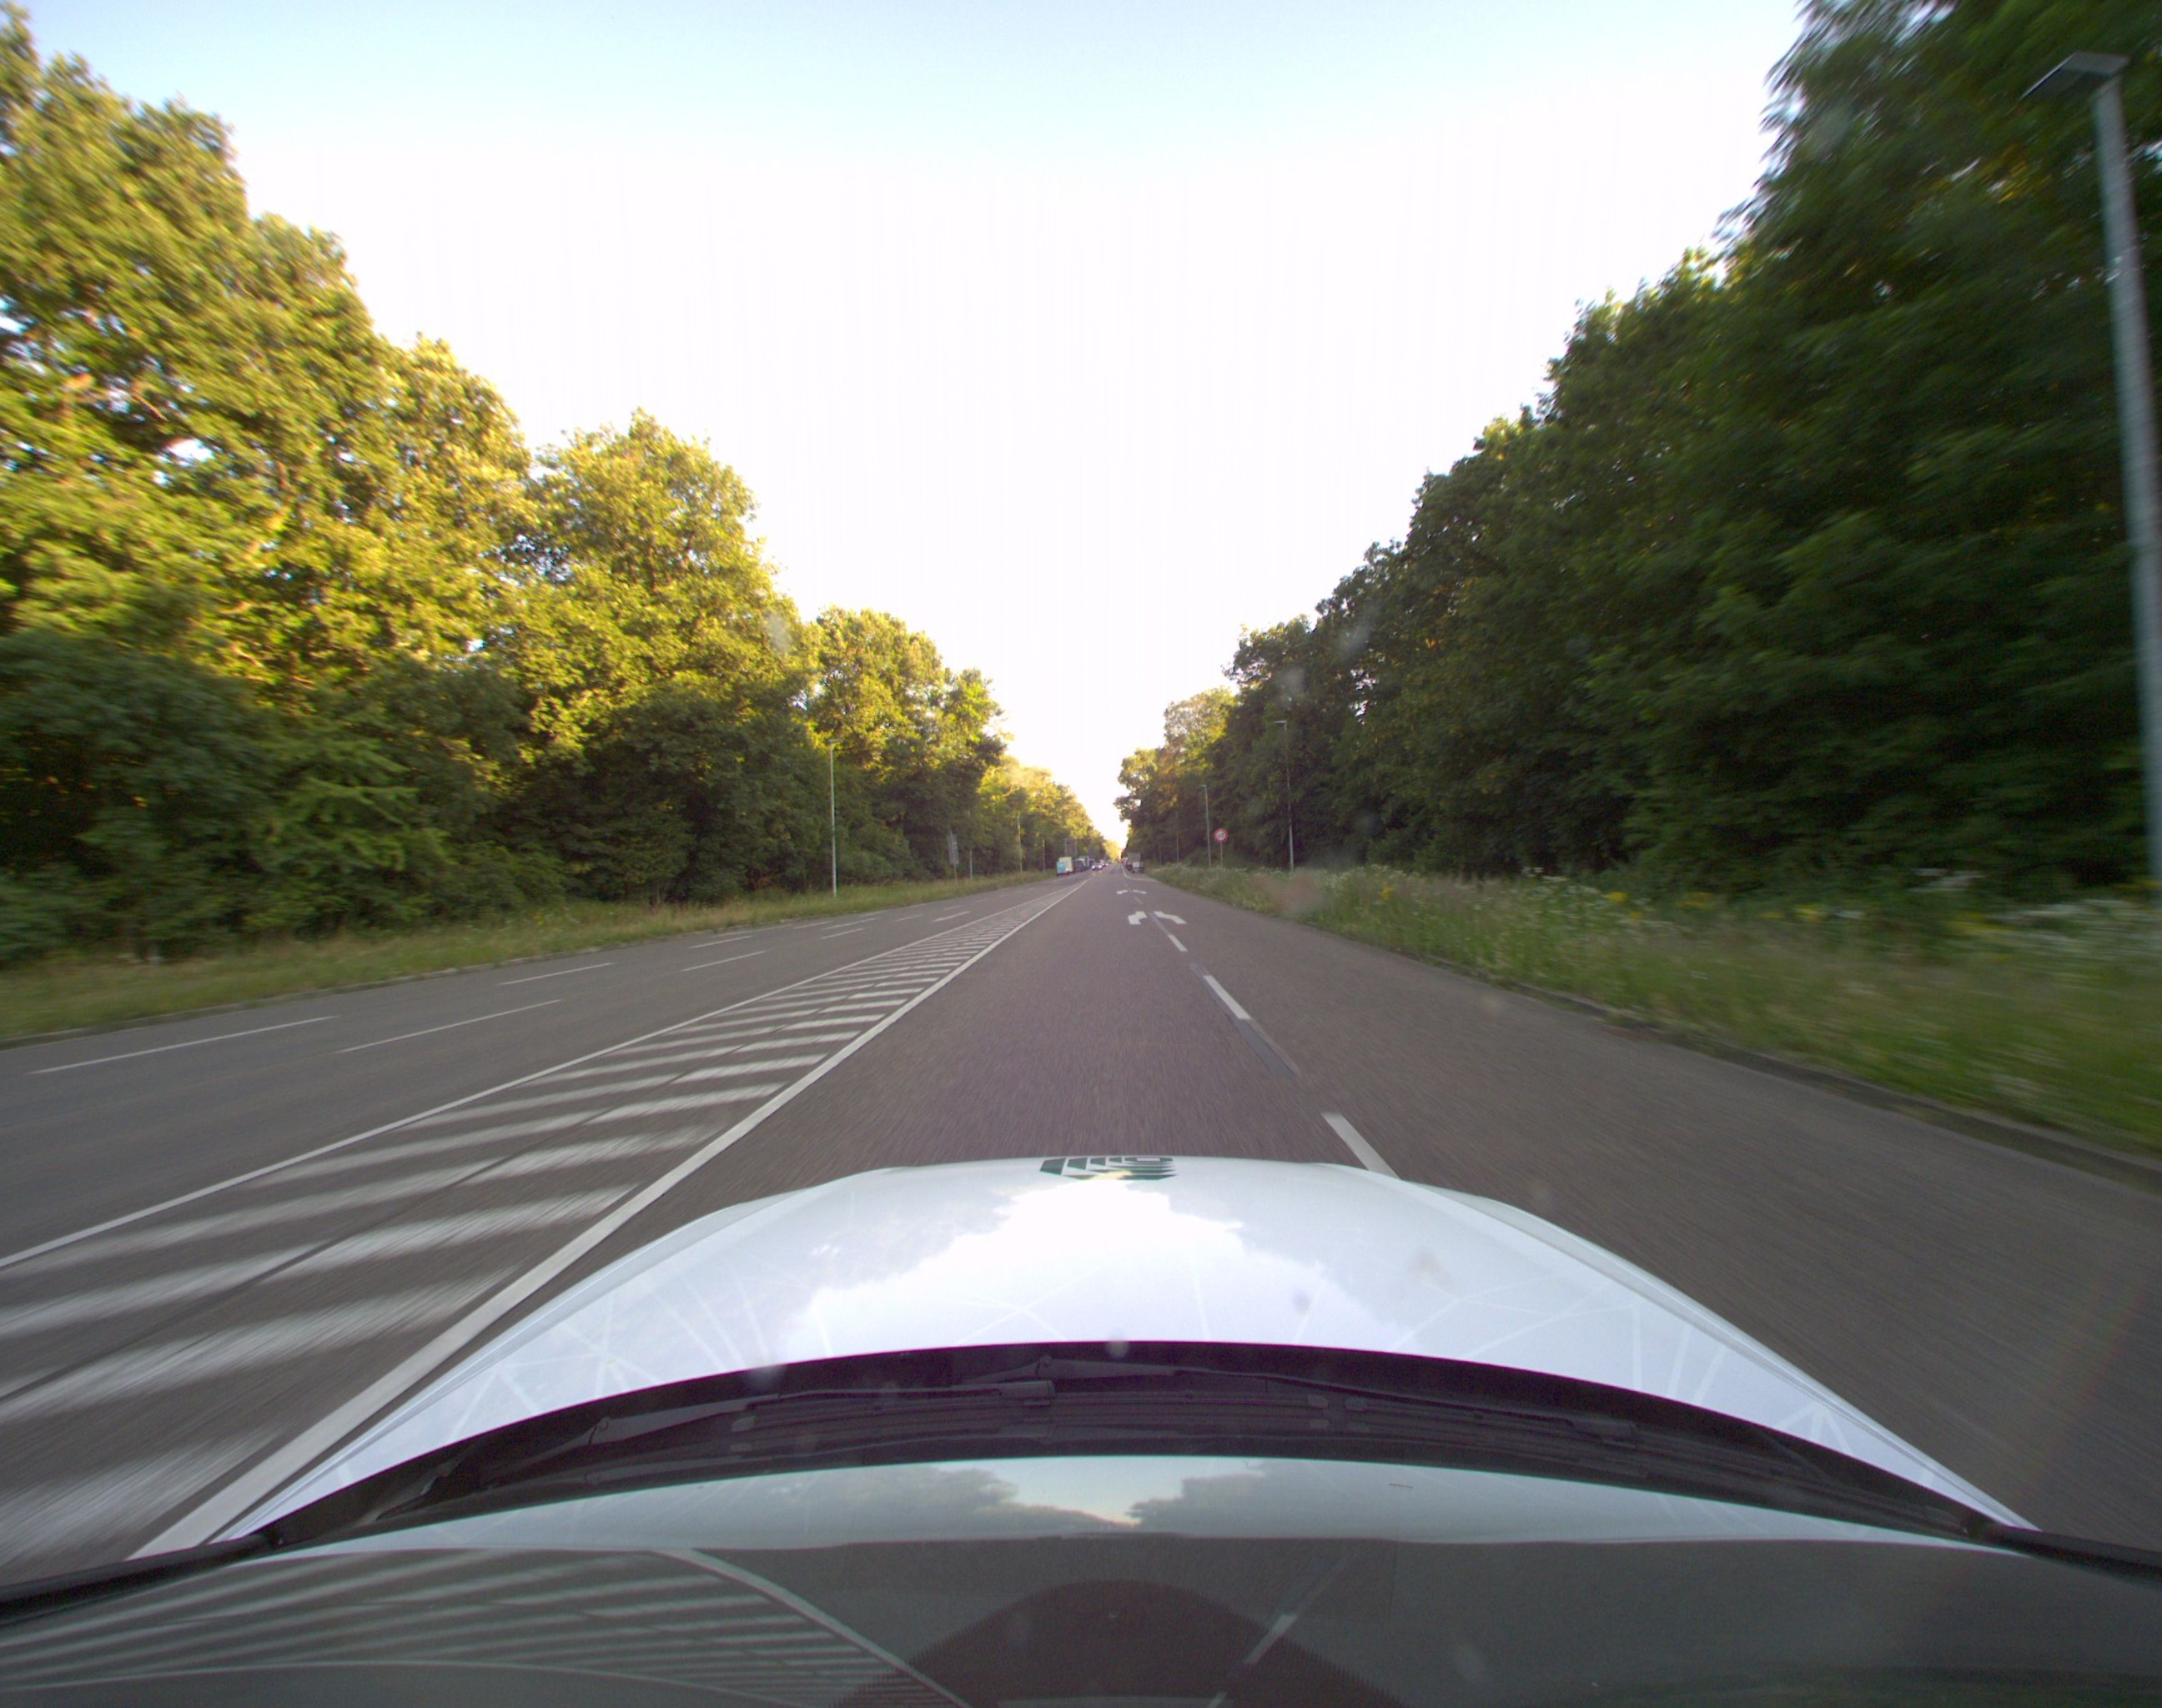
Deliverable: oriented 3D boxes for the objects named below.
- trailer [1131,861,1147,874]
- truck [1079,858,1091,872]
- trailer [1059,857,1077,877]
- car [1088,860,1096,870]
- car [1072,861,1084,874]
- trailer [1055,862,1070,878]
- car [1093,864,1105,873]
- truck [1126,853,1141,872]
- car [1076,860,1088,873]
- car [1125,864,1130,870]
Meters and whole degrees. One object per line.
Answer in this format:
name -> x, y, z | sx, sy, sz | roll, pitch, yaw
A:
trailer -> 8.166, 1.868, 115.176 | 1.445, 1.662, 3.793 | -3, -1, 16
truck -> 1.009, 2.629, 199.976 | 2.494, 3.329, 6.845 | -4, -1, 2
trailer -> -2.059, 2.076, 131.569 | 2.317, 2.924, 5.629 | -5, -1, 2
car -> 3.172, 3.174, 234.582 | 2.178, 2.788, 5.337 | -4, -1, 2
car -> -0.544, 2.594, 157.006 | 1.986, 2.364, 5.769 | -5, -1, 2
trailer -> -2.555, 2.228, 115.952 | 1.810, 2.167, 4.144 | -3, -1, 2
car -> 3.779, 2.992, 169.062 | 2.054, 1.435, 4.472 | -5, 0, 5
truck -> 9.633, 1.516, 147.769 | 2.577, 3.255, 7.228 | -1, -1, 4
car -> 0.176, 2.672, 174.396 | 2.240, 2.647, 5.724 | -4, -1, 2
car -> 12.574, 3.524, 220.677 | 1.144, 1.251, 2.754 | -12, 0, 0
